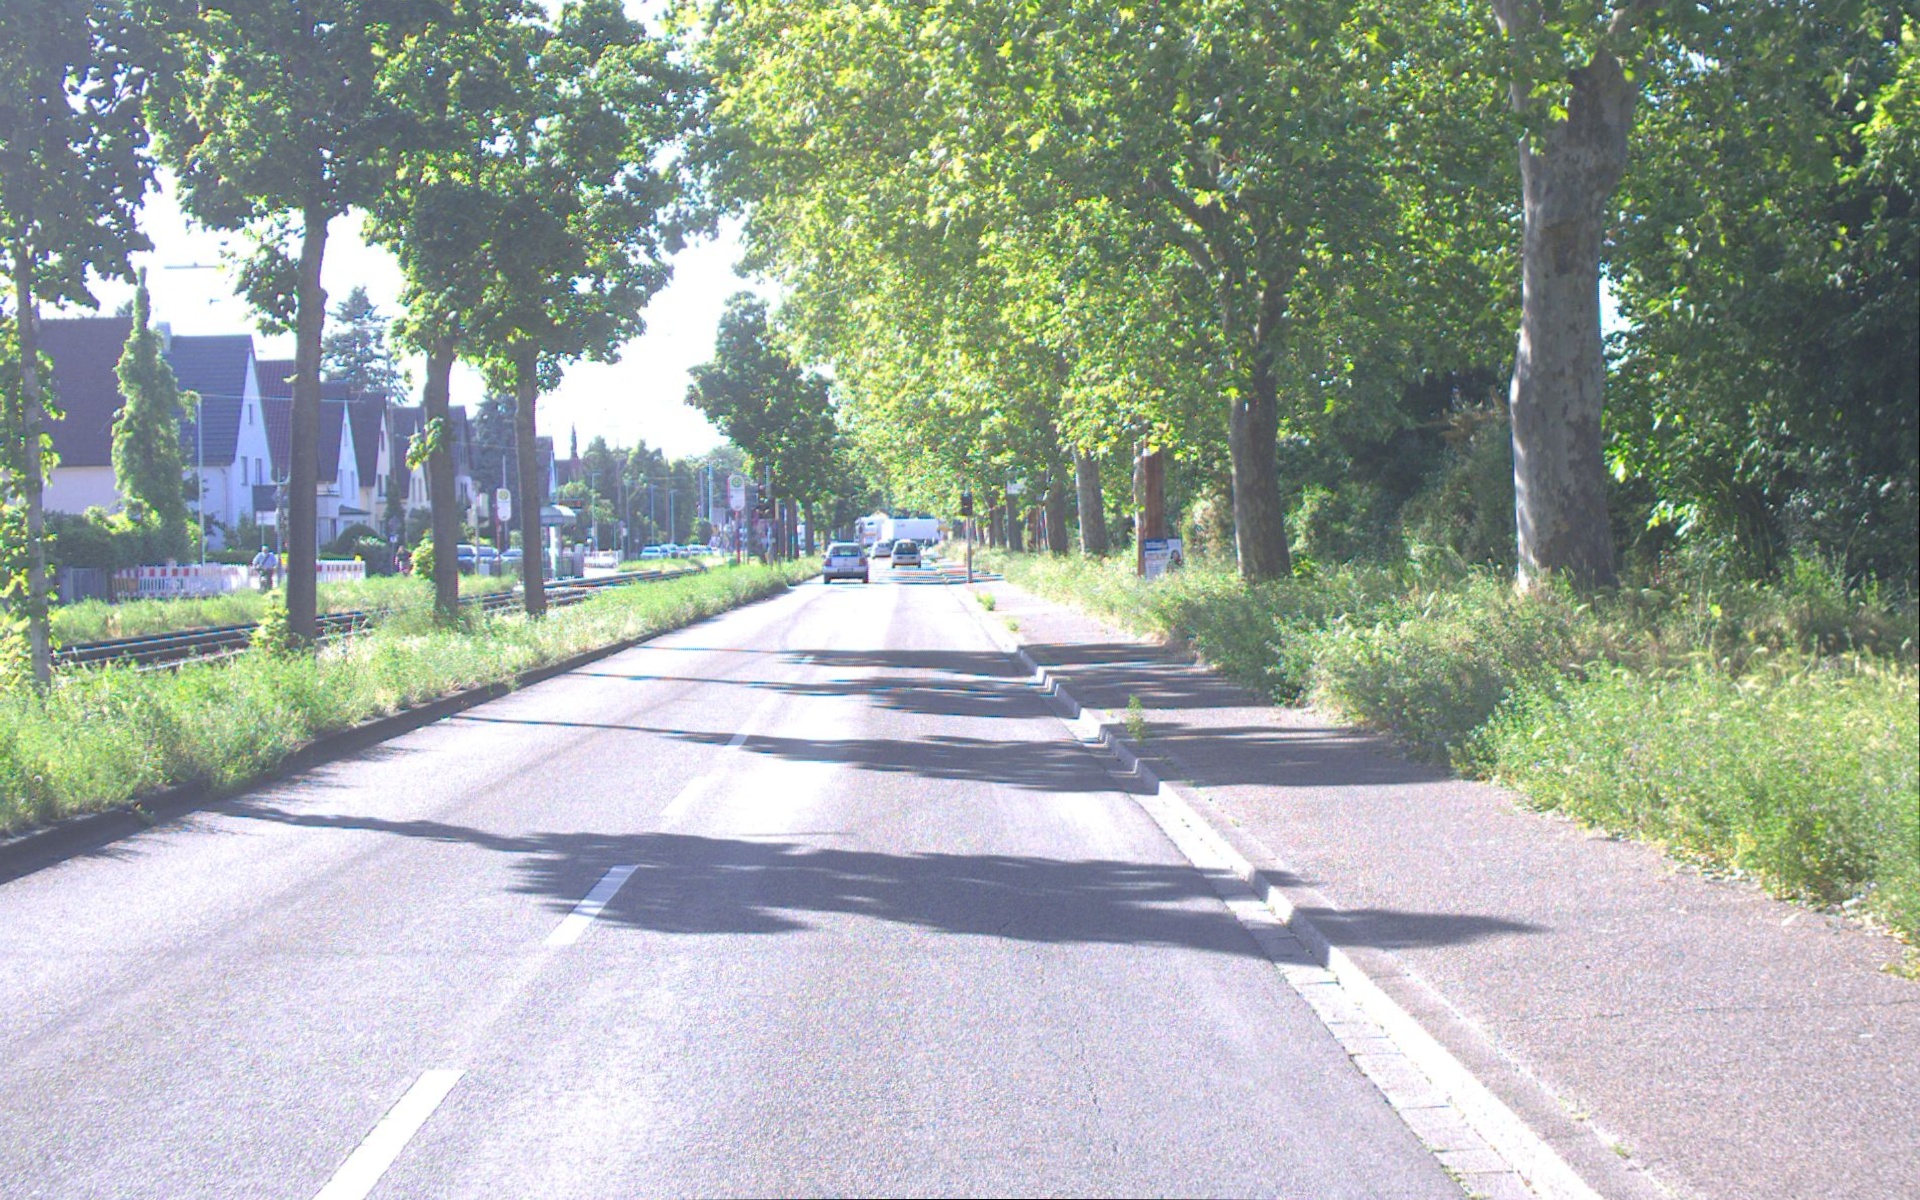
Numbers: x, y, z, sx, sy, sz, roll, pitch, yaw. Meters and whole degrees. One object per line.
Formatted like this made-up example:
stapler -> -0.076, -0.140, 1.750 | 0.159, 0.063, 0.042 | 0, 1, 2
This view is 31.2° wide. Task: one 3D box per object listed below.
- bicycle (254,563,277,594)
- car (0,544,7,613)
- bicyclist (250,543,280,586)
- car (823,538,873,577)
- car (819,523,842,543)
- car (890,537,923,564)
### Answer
bicycle -> -20.788, -0.642, 102.876 | 0.441, 0.898, 2.061 | 0, 0, -5
car -> -23.069, -0.483, 76.930 | 1.994, 1.593, 4.731 | 0, 0, 3
bicyclist -> -20.814, -1.053, 102.942 | 0.798, 1.273, 0.737 | 0, 0, -4
car -> -4.046, -1.540, 124.668 | 1.738, 1.396, 3.277 | 0, 0, -1
car -> -9.446, -4.880, 250.564 | 1.527, 1.450, 3.287 | 0, 0, 0
car -> -2.973, -2.768, 192.413 | 1.761, 1.508, 3.277 | 0, 0, 0
